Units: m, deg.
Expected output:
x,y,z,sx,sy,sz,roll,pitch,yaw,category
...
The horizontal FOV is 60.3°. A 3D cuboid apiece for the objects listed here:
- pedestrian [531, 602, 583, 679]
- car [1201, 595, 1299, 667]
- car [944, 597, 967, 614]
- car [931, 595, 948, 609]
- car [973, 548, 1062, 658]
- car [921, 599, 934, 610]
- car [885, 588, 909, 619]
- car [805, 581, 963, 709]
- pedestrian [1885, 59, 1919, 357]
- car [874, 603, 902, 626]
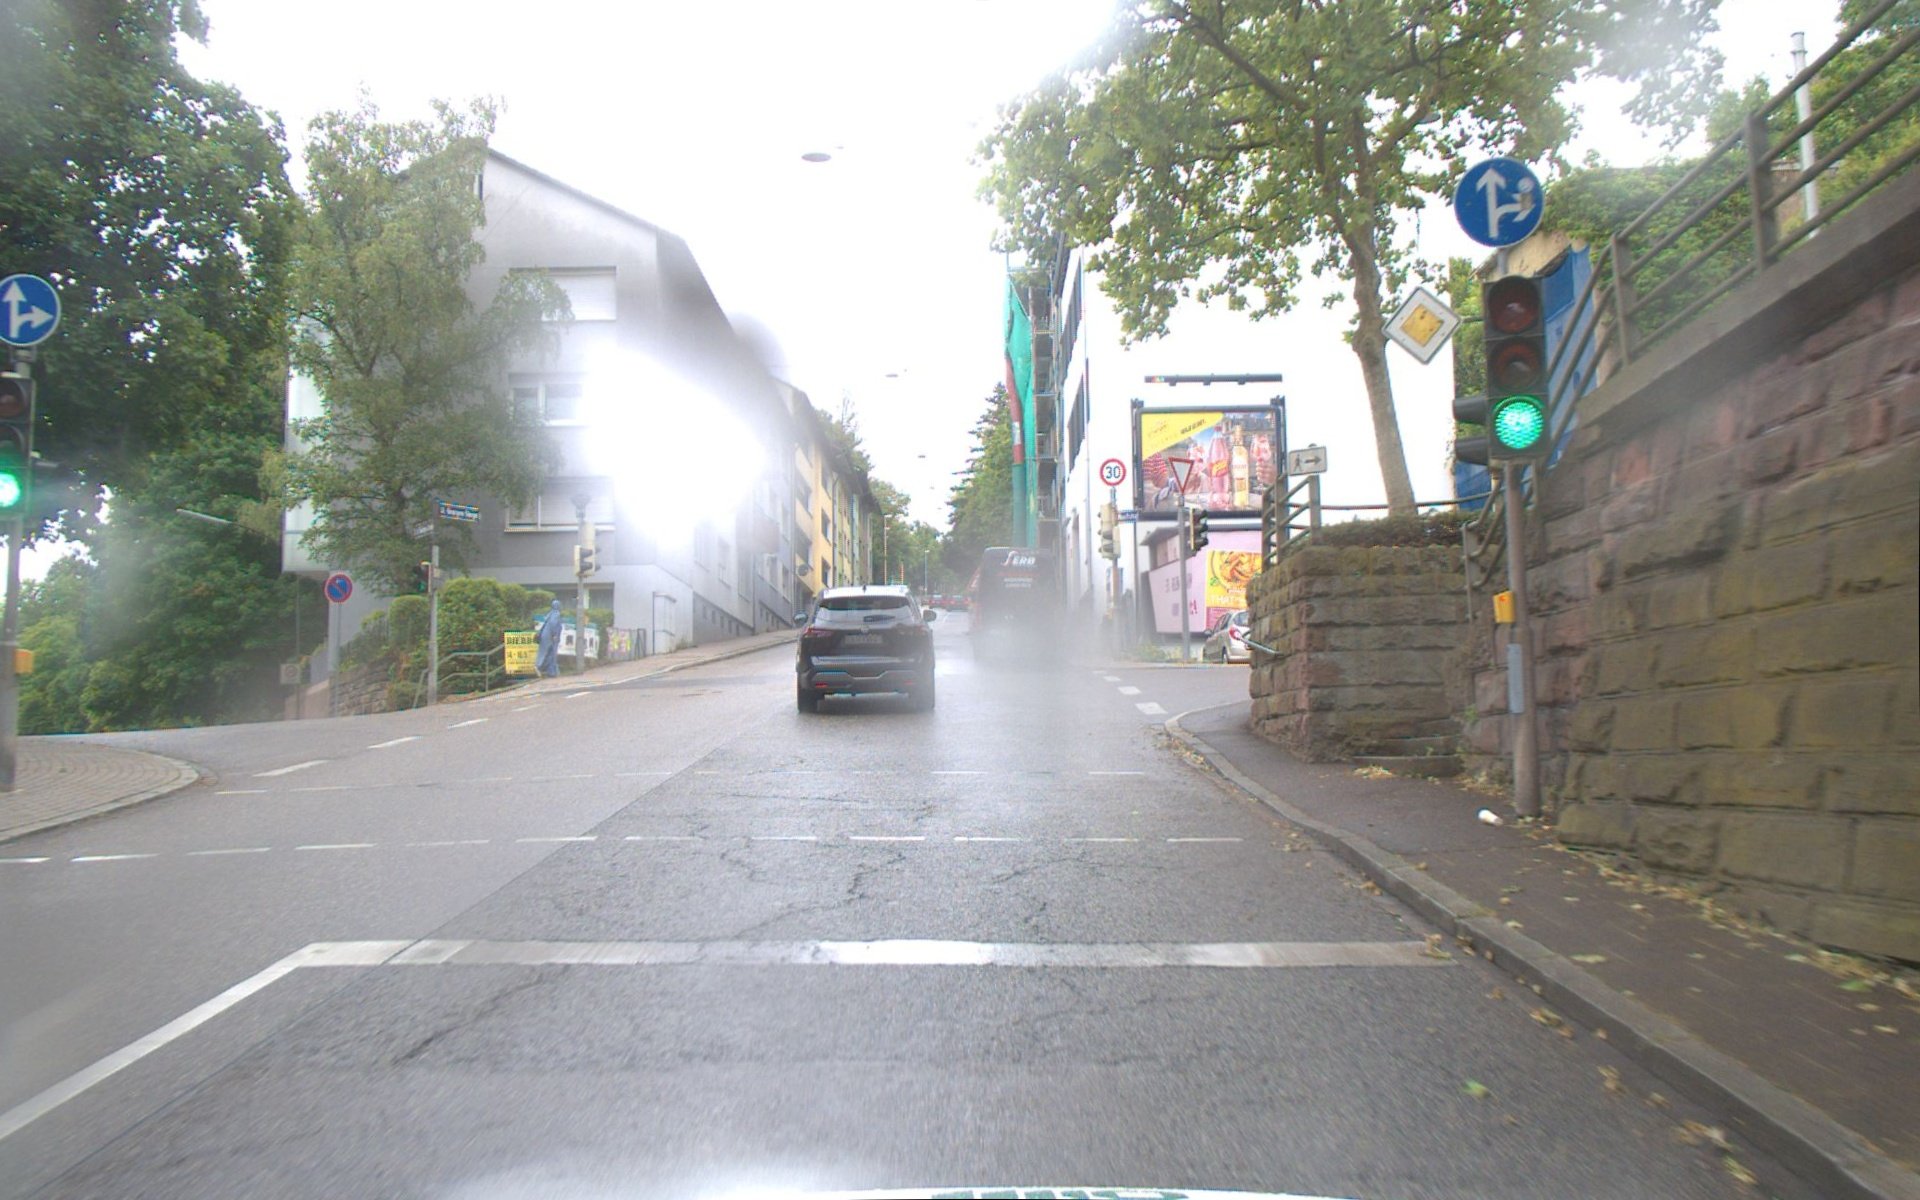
x,y,z,sx,sy,sz,roll,pitch,yaw,category
-8.373,0.856,34.408,0.852,1.568,1.086,0,-2,-3,pedestrian
6.531,0.666,37.636,1.530,1.510,4.000,0,1,0,car
-0.449,0.478,156.519,2.032,1.587,3.999,0,0,-2,car
-2.389,0.233,192.925,2.032,1.587,3.999,0,0,-1,car
1.327,0.166,40.331,1.953,2.456,5.835,0,-2,0,car
-4.859,0.664,248.406,2.032,1.587,3.999,0,0,-1,car
-5.416,0.284,143.357,1.950,2.518,5.783,-1,0,-1,car
-0.948,0.540,22.611,1.953,1.587,4.000,0,1,0,car
6.096,-2.332,9.703,0.772,1.707,0.861,-1,-3,-40,pedestrian
-5.496,1.080,126.693,1.950,1.613,4.304,-1,0,-1,car
